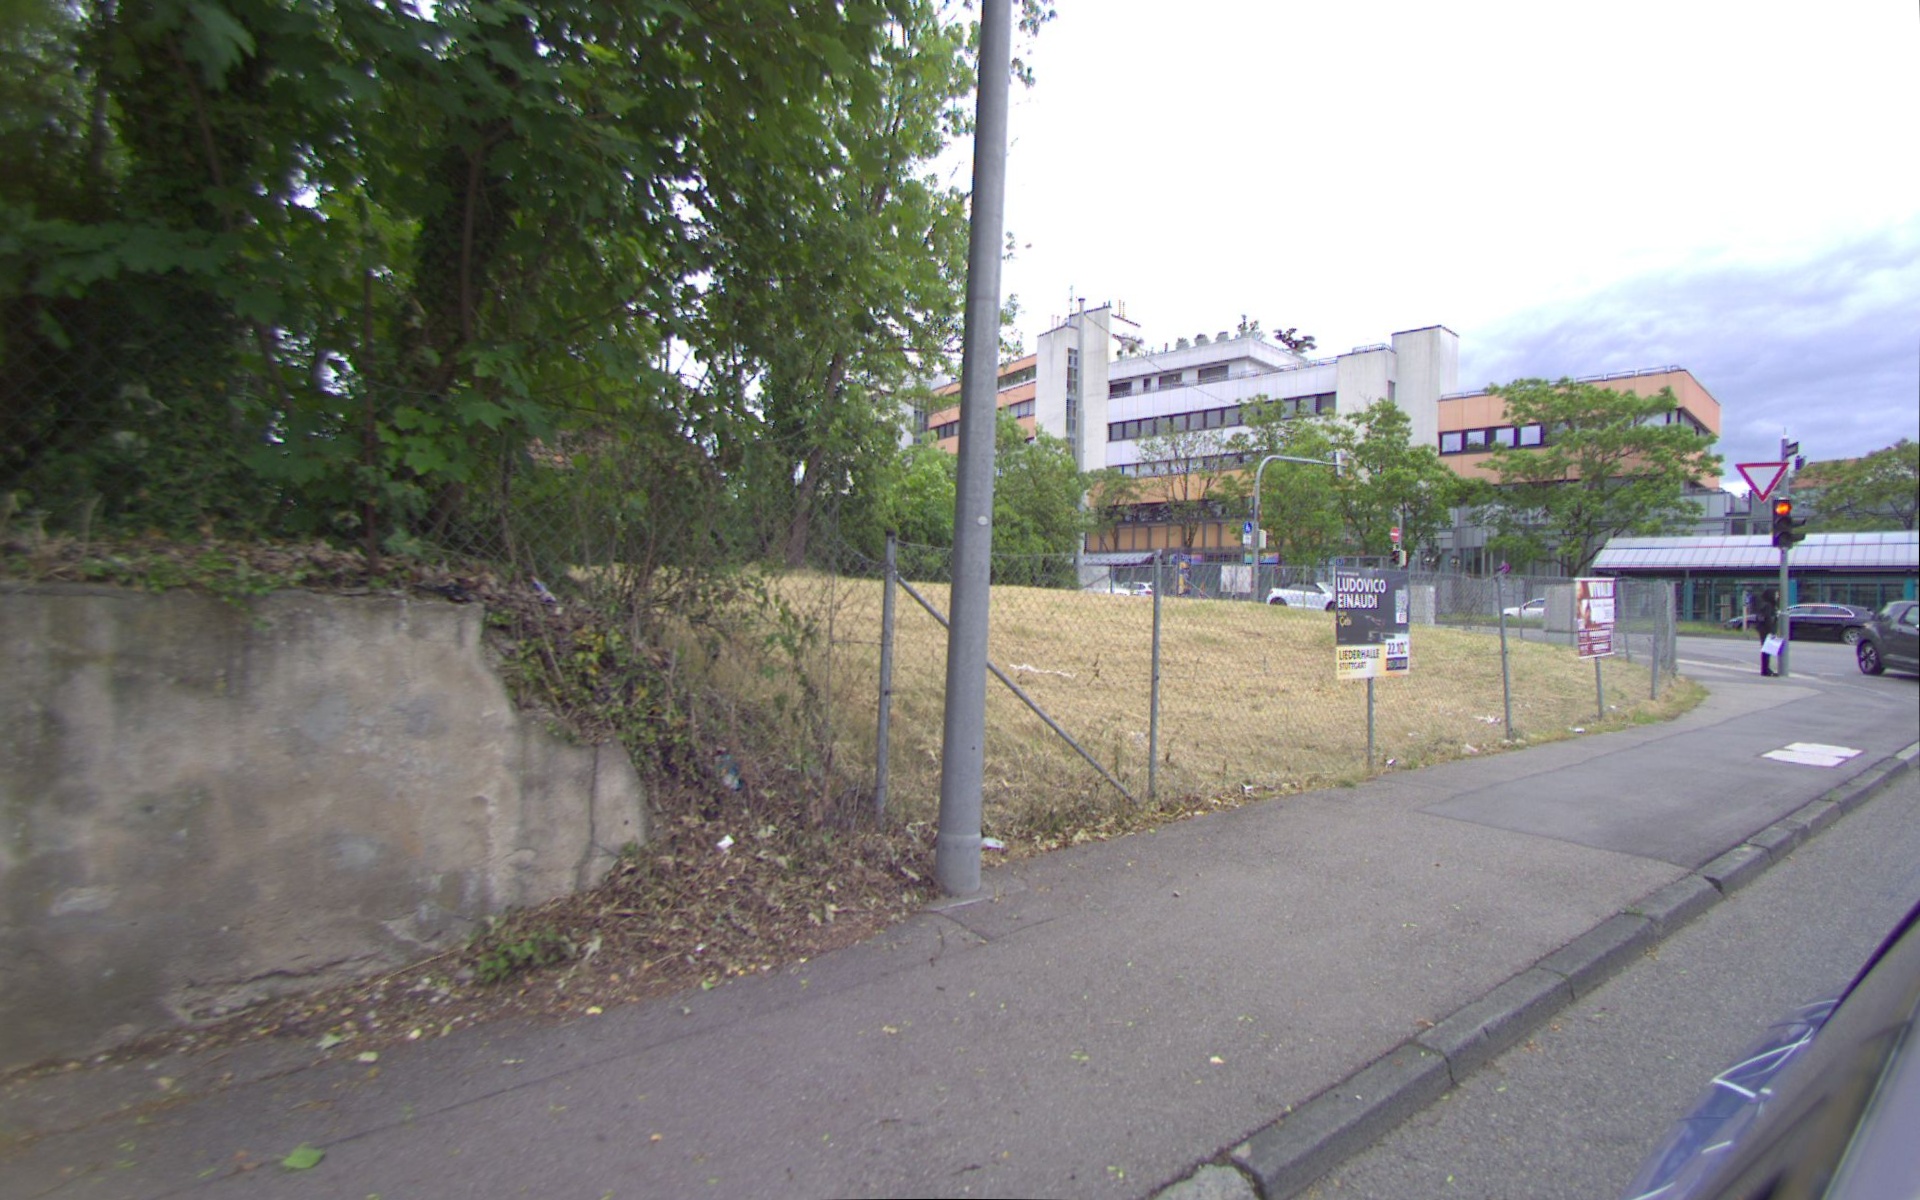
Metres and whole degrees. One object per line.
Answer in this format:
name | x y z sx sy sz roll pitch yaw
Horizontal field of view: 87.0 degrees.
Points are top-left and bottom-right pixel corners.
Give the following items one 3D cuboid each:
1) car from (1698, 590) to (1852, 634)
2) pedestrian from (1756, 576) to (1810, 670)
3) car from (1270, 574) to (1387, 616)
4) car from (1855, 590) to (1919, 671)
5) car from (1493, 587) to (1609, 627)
car | 28.161 0.383 35.051 1.638 1.327 3.913 0 2 -40
pedestrian | 14.609 0.396 17.970 0.661 1.610 0.552 0 3 -42
car | 14.914 -0.229 41.074 1.967 1.530 3.991 0 2 -44
car | 17.837 0.599 17.641 1.622 1.415 3.769 2 2 12
car | 25.317 0.289 43.428 1.602 1.397 3.933 0 4 -40
